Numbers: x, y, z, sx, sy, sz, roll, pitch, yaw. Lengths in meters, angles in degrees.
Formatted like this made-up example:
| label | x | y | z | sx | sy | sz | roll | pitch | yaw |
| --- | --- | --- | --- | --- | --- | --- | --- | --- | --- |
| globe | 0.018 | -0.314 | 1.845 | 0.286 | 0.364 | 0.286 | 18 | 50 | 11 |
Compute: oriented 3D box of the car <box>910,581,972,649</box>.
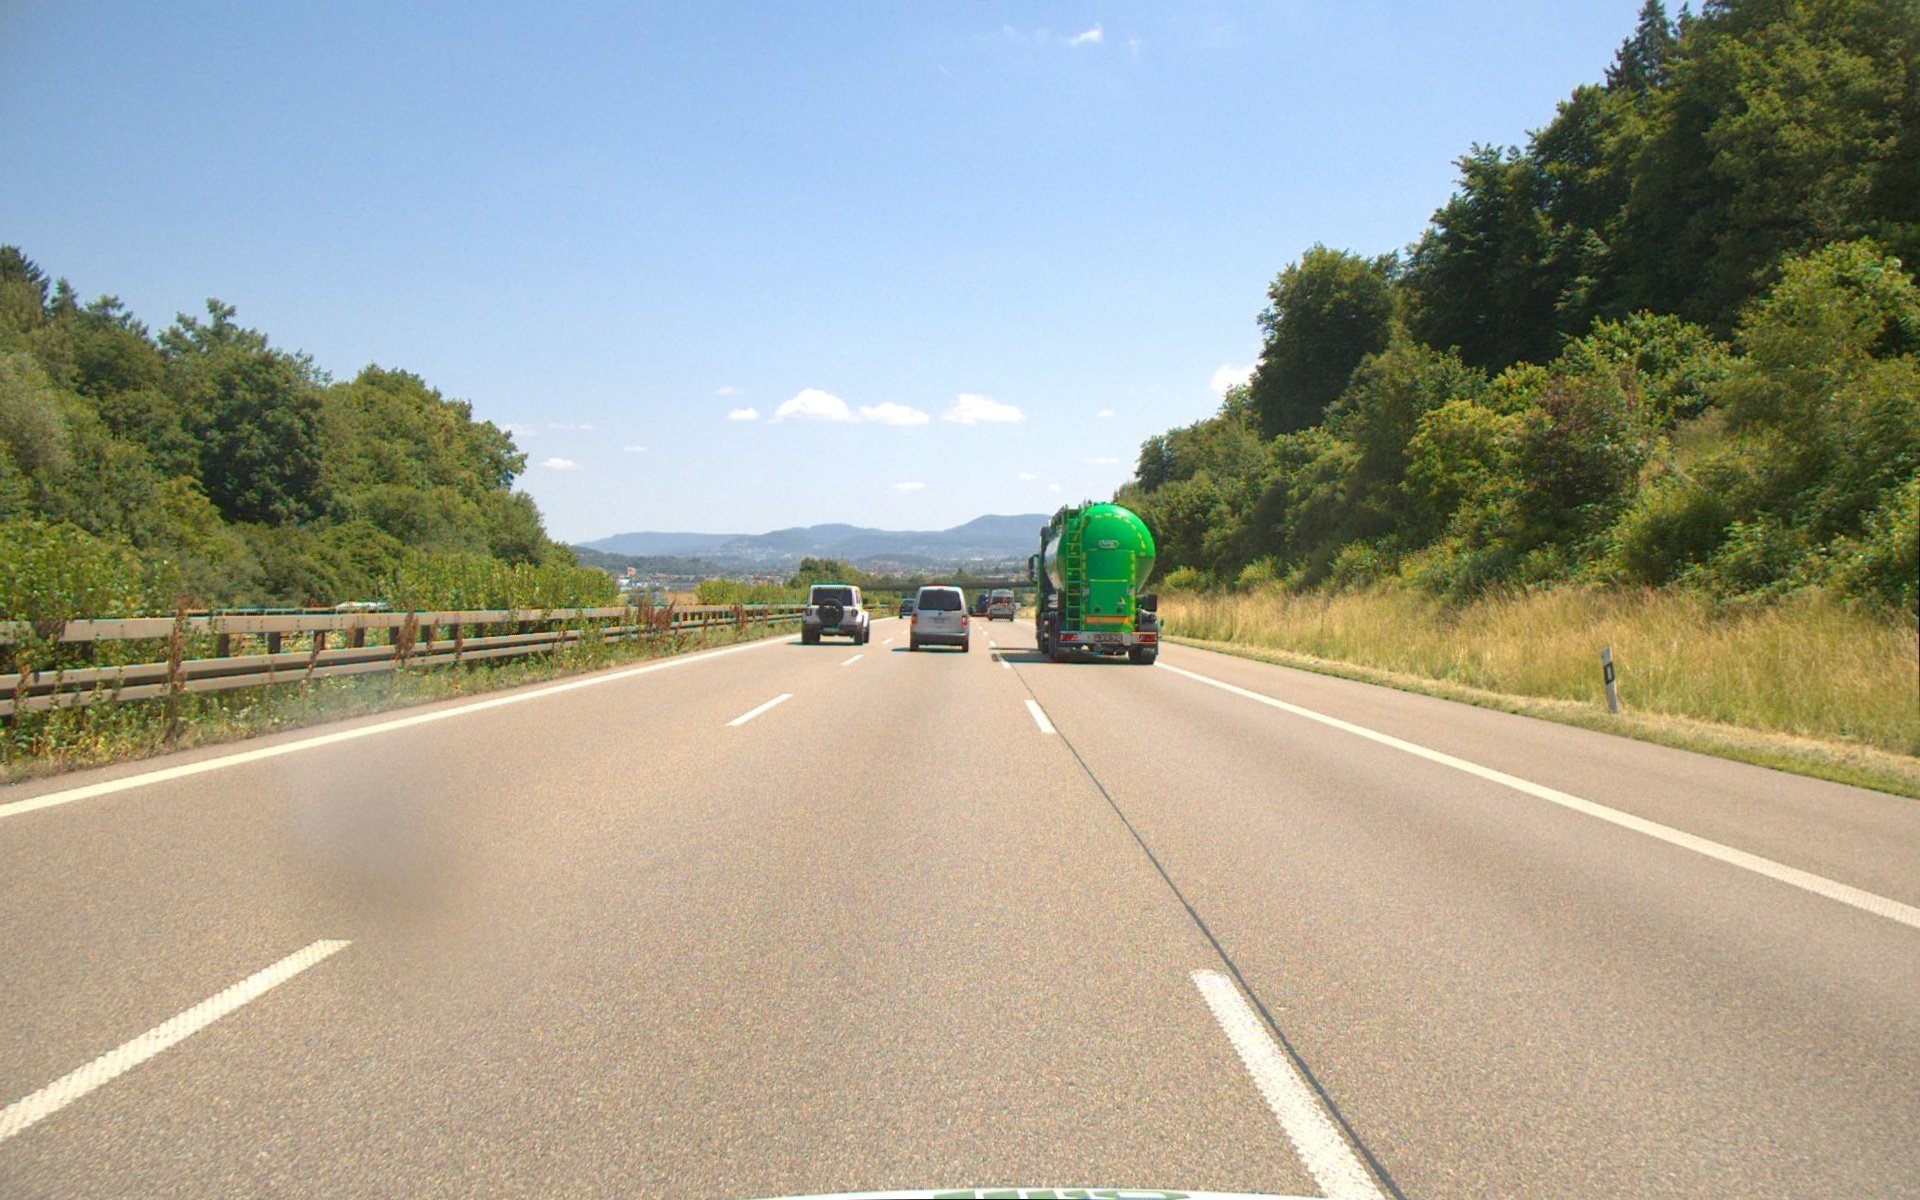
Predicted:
| label | x | y | z | sx | sy | sz | roll | pitch | yaw |
| --- | --- | --- | --- | --- | --- | --- | --- | --- | --- |
| car | -0.601 | 0.397 | 48.747 | 1.710 | 1.861 | 4.799 | 1 | 0 | -2 |

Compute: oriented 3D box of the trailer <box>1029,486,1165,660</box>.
| label | x | y | z | sx | sy | sz | roll | pitch | yaw |
| --- | --- | --- | --- | --- | --- | --- | --- | --- | --- |
| trailer | 3.507 | -0.679 | 44.919 | 2.535 | 4.098 | 10.468 | 1 | 0 | -1 |

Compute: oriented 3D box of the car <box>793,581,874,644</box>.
| label | x | y | z | sx | sy | sz | roll | pitch | yaw |
| --- | --- | --- | --- | --- | --- | --- | --- | --- | --- |
| car | -3.992 | 0.375 | 52.797 | 2.040 | 1.861 | 4.754 | 1 | 0 | 2 |

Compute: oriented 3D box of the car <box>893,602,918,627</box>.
| label | x | y | z | sx | sy | sz | roll | pitch | yaw |
| --- | --- | --- | --- | --- | --- | --- | --- | --- | --- |
| car | -4.724 | 1.277 | 142.838 | 1.953 | 2.049 | 4.000 | 1 | 0 | 0 |

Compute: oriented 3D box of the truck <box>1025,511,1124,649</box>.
| label | x | y | z | sx | sy | sz | roll | pitch | yaw |
| --- | --- | --- | --- | --- | --- | --- | --- | --- | --- |
| truck | 3.403 | -0.599 | 50.168 | 2.459 | 3.909 | 4.891 | 1 | 0 | -1 |

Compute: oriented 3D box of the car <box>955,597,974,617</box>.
| label | x | y | z | sx | sy | sz | roll | pitch | yaw |
| --- | --- | --- | --- | --- | --- | --- | --- | --- | --- |
| car | 0.394 | 0.597 | 137.382 | 1.416 | 1.577 | 3.357 | 1 | 0 | 3 |

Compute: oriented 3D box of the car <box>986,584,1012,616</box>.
| label | x | y | z | sx | sy | sz | roll | pitch | yaw |
| --- | --- | --- | --- | --- | --- | --- | --- | --- | --- |
| car | 3.270 | -0.025 | 138.916 | 2.046 | 2.621 | 6.623 | 1 | 0 | 1 |
